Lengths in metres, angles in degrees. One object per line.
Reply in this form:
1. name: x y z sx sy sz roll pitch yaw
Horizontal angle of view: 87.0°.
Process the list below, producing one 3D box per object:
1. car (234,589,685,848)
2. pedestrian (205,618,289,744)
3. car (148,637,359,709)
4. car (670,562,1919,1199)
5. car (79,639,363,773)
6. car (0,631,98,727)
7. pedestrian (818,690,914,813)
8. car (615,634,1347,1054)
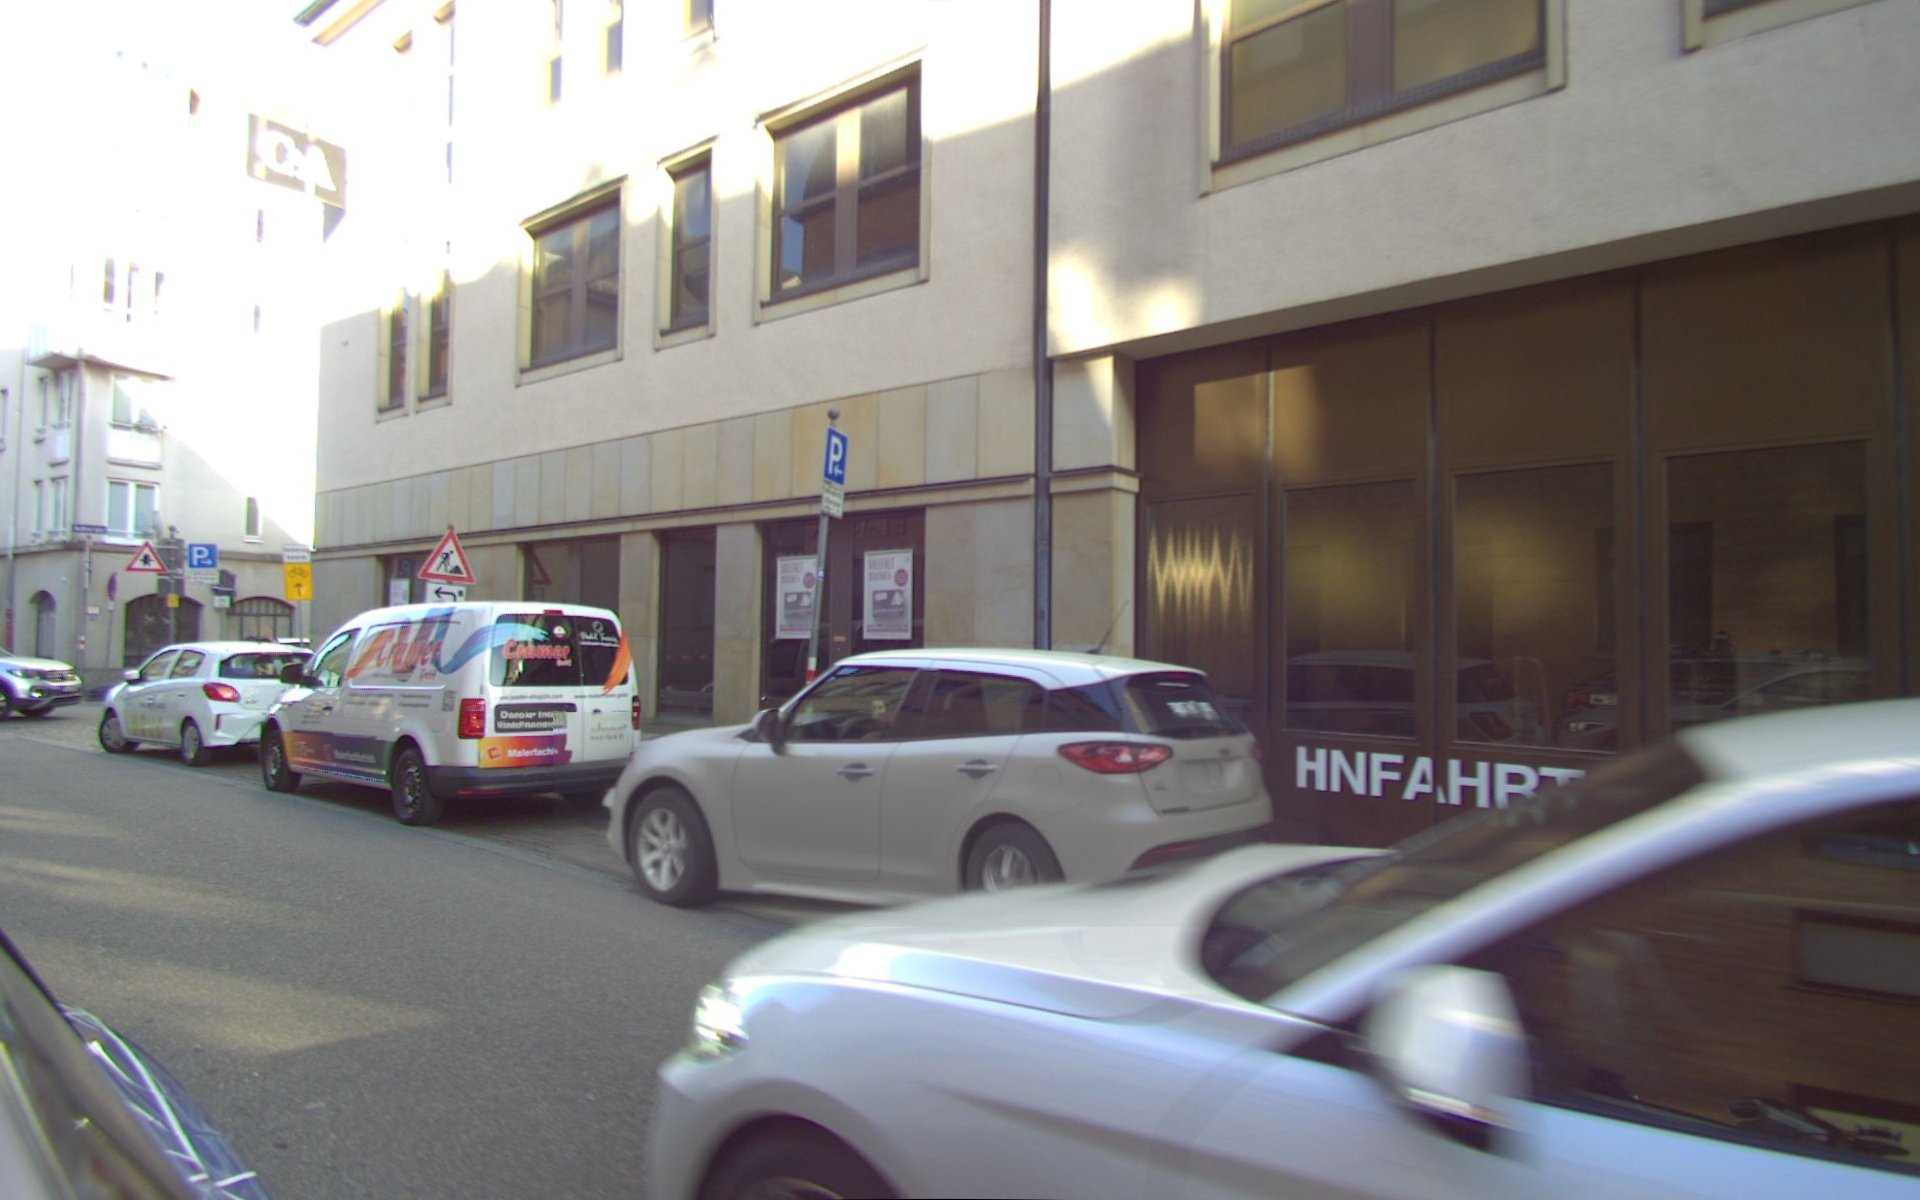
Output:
1. car: -4.872 0.970 9.552 4.727 1.872 1.881 -2 -5 38
2. pedestrian: -11.047 1.240 15.687 0.860 1.869 0.707 0 -4 35
3. car: -17.529 1.787 25.267 1.740 1.605 3.920 0 -3 36
4. car: 1.567 0.765 1.299 4.156 1.529 1.697 -2 -4 40
5. car: -9.708 1.297 13.236 3.789 1.504 1.723 -1 -5 33
6. car: -17.314 1.288 16.979 3.932 1.558 1.769 1 -3 -16
7. pedestrian: -0.868 1.375 9.387 0.616 1.043 0.649 -1 -3 34
8. car: -0.042 1.000 5.569 3.770 1.534 1.654 -2 -6 38
